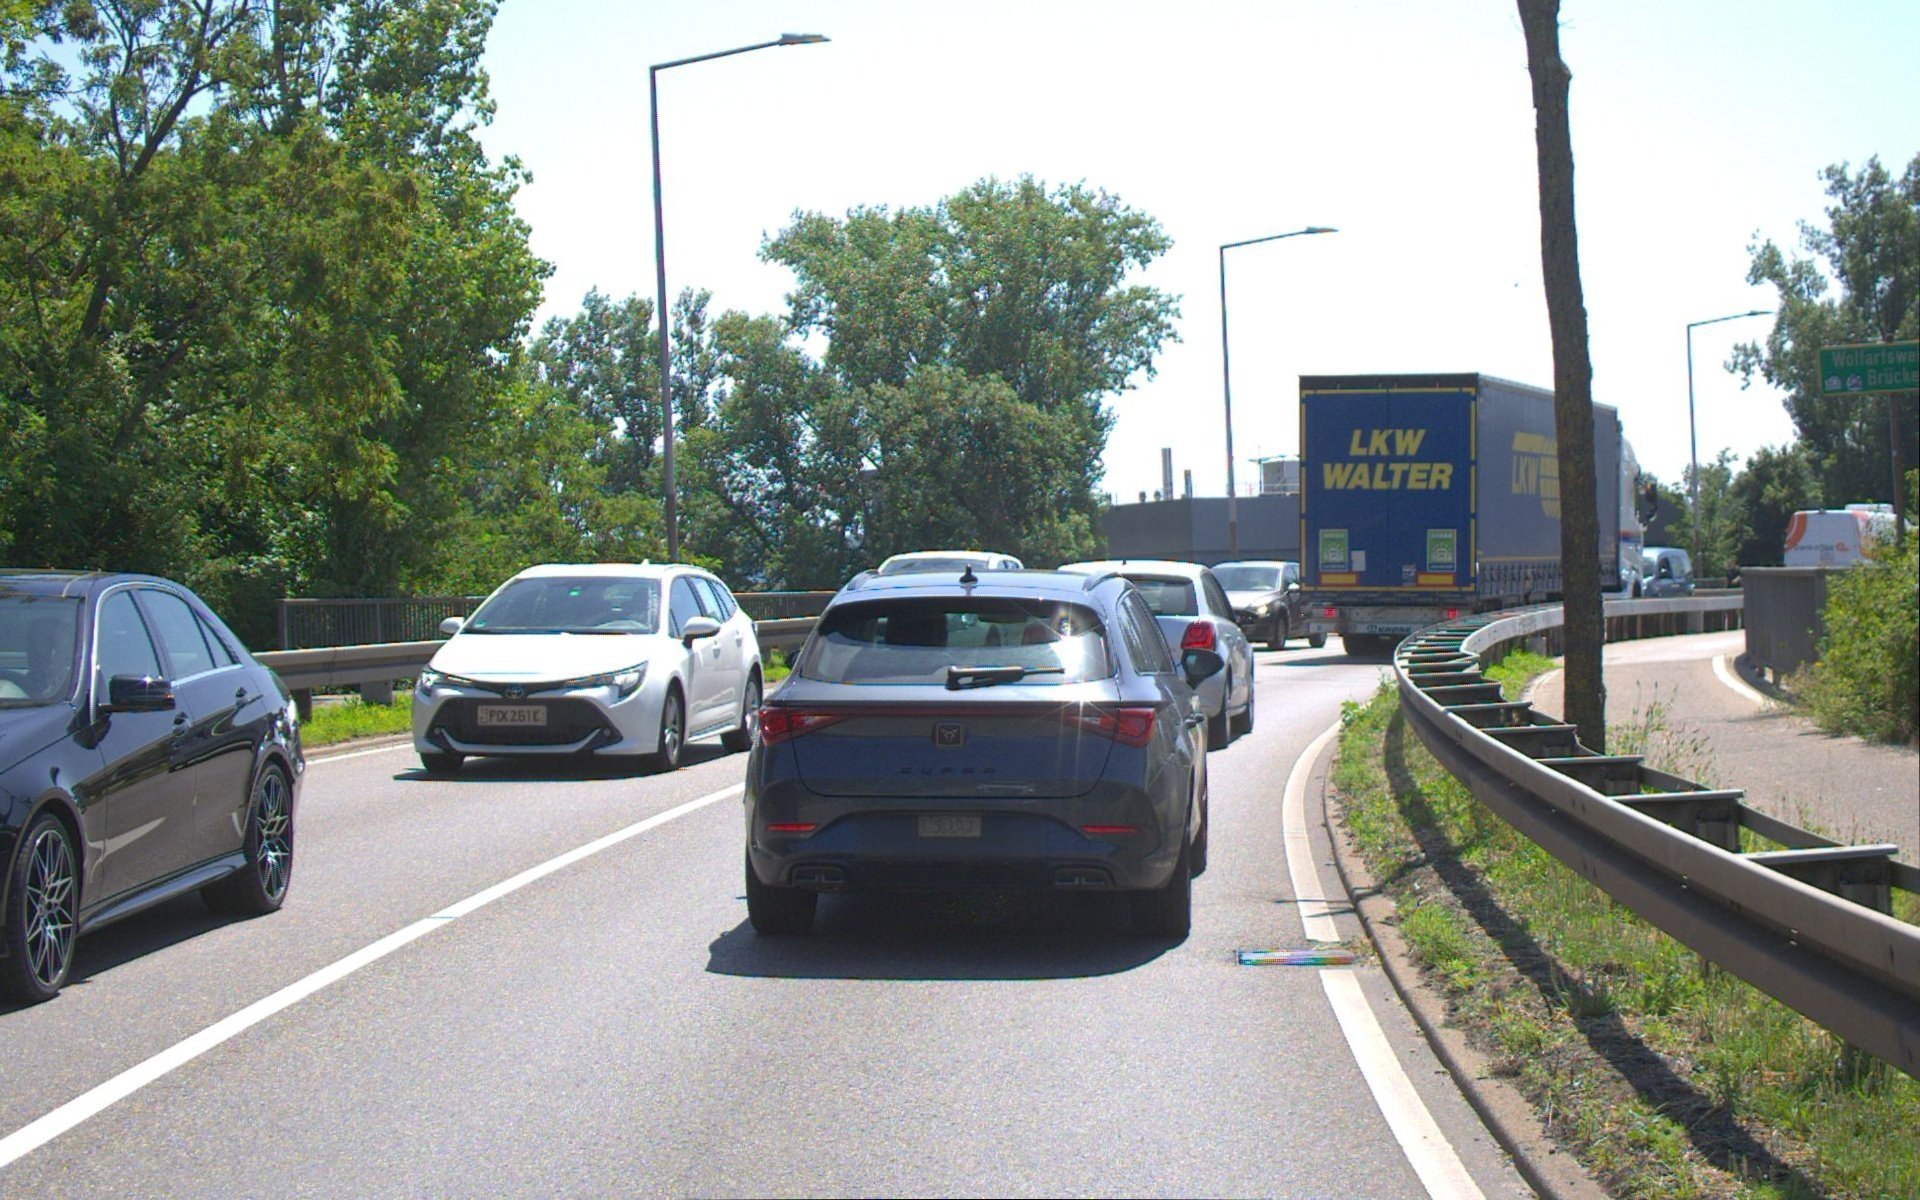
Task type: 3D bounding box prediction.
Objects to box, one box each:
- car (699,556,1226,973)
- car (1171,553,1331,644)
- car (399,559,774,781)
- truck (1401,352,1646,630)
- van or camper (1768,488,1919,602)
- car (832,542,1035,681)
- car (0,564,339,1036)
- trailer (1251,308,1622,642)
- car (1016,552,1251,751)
[{"bbox_3d":[0.147,0.567,14.298,1.846,1.493,3.757,0,1,5],"label":"car"},{"bbox_3d":[4.773,-0.045,55.943,1.718,1.423,4.104,0,1,18],"label":"car"},{"bbox_3d":[-2.591,0.433,24.894,1.701,1.442,4.458,1,1,7],"label":"car"},{"bbox_3d":[10.032,-1.811,60.554,3.173,4.569,7.390,1,0,18],"label":"truck"},{"bbox_3d":[21.899,-1.345,84.092,2.207,2.702,5.914,0,1,34],"label":"van or camper"},{"bbox_3d":[-0.251,0.103,40.603,1.746,1.541,4.391,0,1,8],"label":"car"},{"bbox_3d":[-3.821,0.602,13.066,1.846,1.462,4.740,0,1,3],"label":"car"},{"bbox_3d":[7.778,-1.787,53.960,3.137,4.598,12.935,1,1,20],"label":"trailer"},{"bbox_3d":[1.435,0.364,27.304,1.593,1.456,3.544,1,1,7],"label":"car"}]
